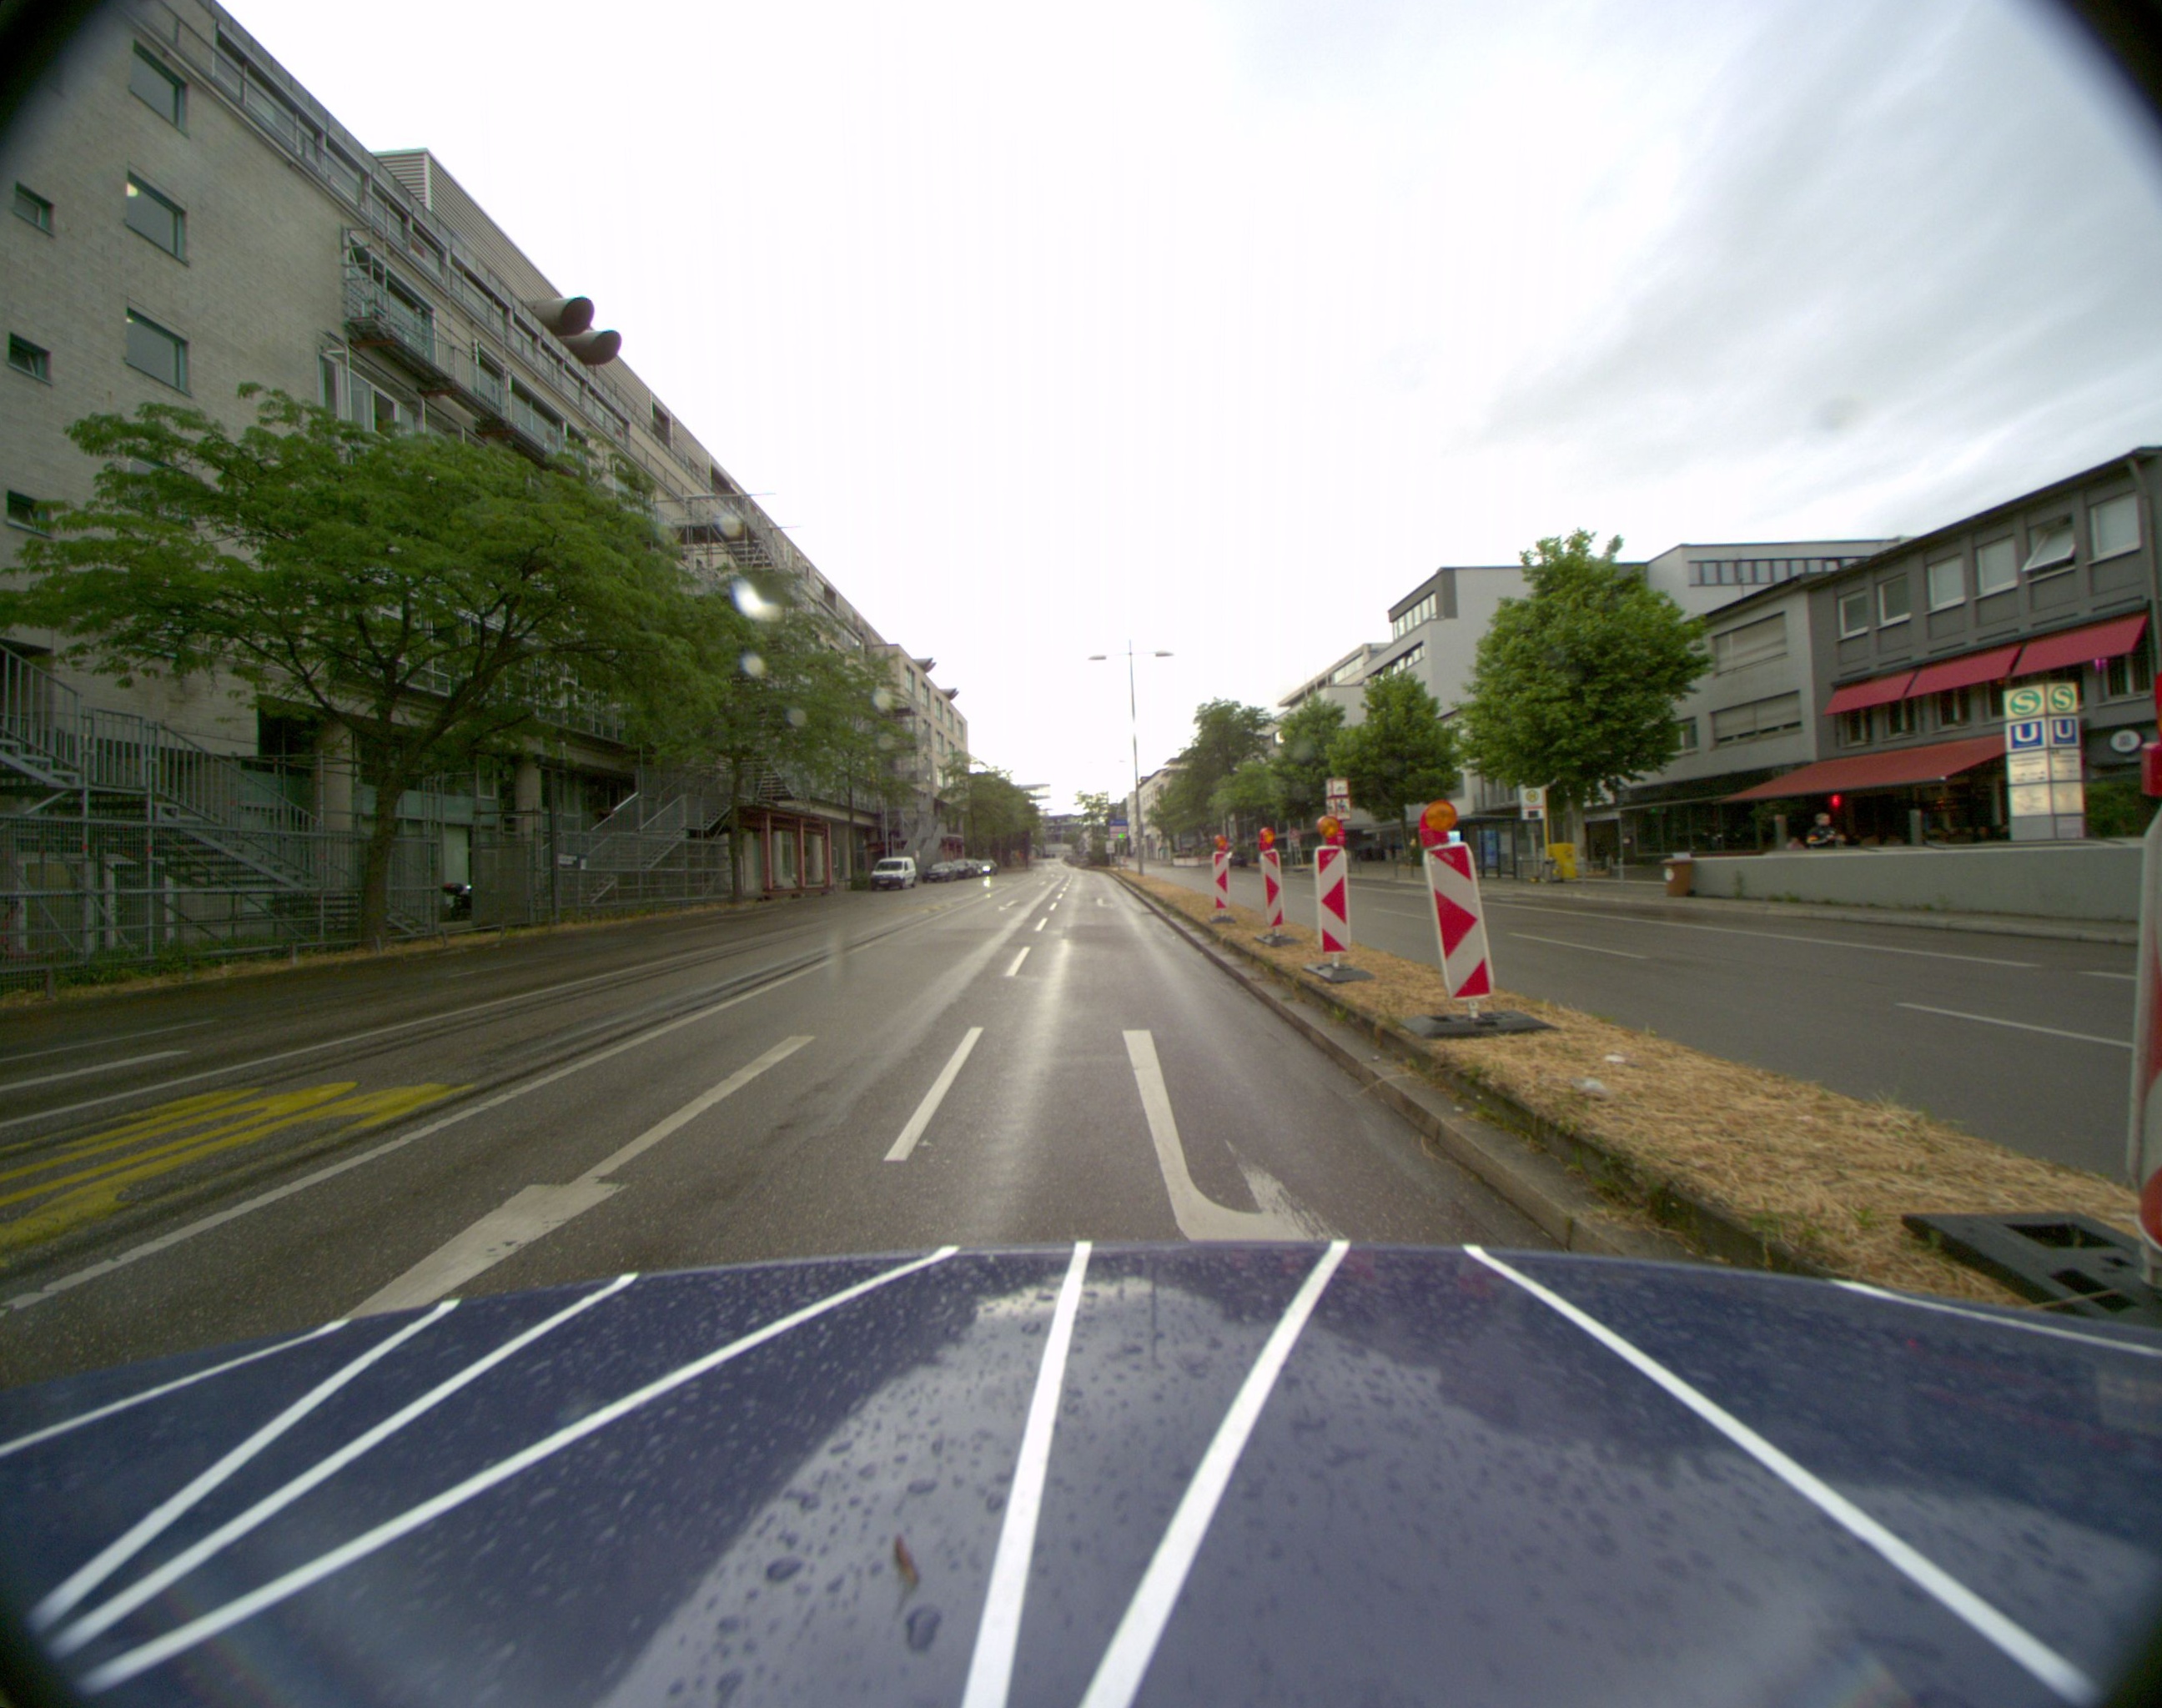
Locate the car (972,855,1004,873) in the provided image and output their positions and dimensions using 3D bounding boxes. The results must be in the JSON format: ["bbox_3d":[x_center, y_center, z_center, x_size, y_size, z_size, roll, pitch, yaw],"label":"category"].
[{"bbox_3d":[-8.852,0.940,72.639,1.998,1.591,5.290,-2,0,4],"label":"car"}]

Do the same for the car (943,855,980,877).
[{"bbox_3d":[-9.590,0.943,61.345,1.998,1.636,4.863,-2,0,3],"label":"car"}]

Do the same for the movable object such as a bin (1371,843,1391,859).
[{"bbox_3d":[27.241,-0.280,69.024,1.088,1.427,1.281,-2,0,-9],"label":"movable object such as a bin"}]

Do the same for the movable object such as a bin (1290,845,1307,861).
[{"bbox_3d":[20.308,-0.111,70.932,1.281,1.418,1.088,-2,1,1],"label":"movable object such as a bin"}]

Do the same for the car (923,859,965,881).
[{"bbox_3d":[-9.779,1.102,54.553,1.873,1.429,4.922,-2,0,3],"label":"car"}]

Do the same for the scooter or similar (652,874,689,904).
[{"bbox_3d":[-17.180,1.456,31.838,0.633,1.155,1.547,-2,0,1],"label":"scooter or similar"}]

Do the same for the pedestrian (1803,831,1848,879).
[{"bbox_3d":[23.181,0.031,23.668,0.691,1.442,0.707,-2,1,-4],"label":"pedestrian"}]

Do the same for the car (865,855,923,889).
[{"bbox_3d":[-10.450,0.958,42.807,1.998,1.739,4.526,-2,0,1],"label":"car"}]

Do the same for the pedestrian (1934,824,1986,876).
[{"bbox_3d":[24.773,-0.109,21.423,0.635,1.442,0.691,-2,1,-6],"label":"pedestrian"}]

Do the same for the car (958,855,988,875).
[{"bbox_3d":[-9.446,0.955,66.720,1.866,1.591,4.593,-2,0,1],"label":"car"}]

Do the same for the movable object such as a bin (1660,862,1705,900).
[{"bbox_3d":[14.517,0.648,18.356,0.533,0.892,0.682,0,0,-9],"label":"movable object such as a bin"}]

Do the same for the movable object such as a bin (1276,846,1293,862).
[{"bbox_3d":[18.957,0.010,70.906,1.281,1.418,1.088,-2,1,1],"label":"movable object such as a bin"}]

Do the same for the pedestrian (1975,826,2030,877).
[{"bbox_3d":[24.919,-0.057,20.563,0.635,1.336,0.691,-2,1,-6],"label":"pedestrian"}]

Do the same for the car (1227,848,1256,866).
[{"bbox_3d":[15.707,0.306,74.464,1.783,1.626,4.023,-2,0,-2],"label":"car"}]

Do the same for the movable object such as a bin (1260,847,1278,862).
[{"bbox_3d":[17.516,0.047,70.905,1.362,1.418,1.088,-2,1,1],"label":"movable object such as a bin"}]

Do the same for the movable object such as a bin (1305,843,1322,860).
[{"bbox_3d":[21.703,-0.227,70.923,1.281,1.480,1.088,-2,1,1],"label":"movable object such as a bin"}]

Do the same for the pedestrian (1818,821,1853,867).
[{"bbox_3d":[25.956,-0.335,26.138,0.598,1.561,0.604,-2,1,-9],"label":"pedestrian"}]

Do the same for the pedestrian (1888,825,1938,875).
[{"bbox_3d":[24.947,-0.119,22.799,0.728,1.442,0.691,-2,1,-6],"label":"pedestrian"}]

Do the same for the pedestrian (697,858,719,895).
[{"bbox_3d":[-18.063,1.075,36.811,0.677,1.732,0.653,-1,1,3],"label":"pedestrian"}]

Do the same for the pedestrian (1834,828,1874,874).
[{"bbox_3d":[24.905,-0.088,24.488,0.691,1.442,0.547,-2,1,-4],"label":"pedestrian"}]

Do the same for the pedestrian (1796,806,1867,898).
[{"bbox_3d":[15.687,-0.041,15.901,0.691,1.874,0.758,-2,1,-4],"label":"pedestrian"}]

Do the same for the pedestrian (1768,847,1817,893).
[{"bbox_3d":[23.127,0.516,24.707,0.691,1.442,0.914,-2,0,-4],"label":"pedestrian"}]

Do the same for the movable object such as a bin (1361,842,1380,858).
[{"bbox_3d":[26.836,-0.359,70.402,1.088,1.427,1.281,-2,0,-9],"label":"movable object such as a bin"}]

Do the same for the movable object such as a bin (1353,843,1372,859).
[{"bbox_3d":[26.648,-0.303,71.941,1.088,1.427,1.281,-2,0,-9],"label":"movable object such as a bin"}]

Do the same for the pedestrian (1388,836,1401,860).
[{"bbox_3d":[24.077,-0.466,58.358,0.698,1.753,0.653,-1,1,3],"label":"pedestrian"}]
